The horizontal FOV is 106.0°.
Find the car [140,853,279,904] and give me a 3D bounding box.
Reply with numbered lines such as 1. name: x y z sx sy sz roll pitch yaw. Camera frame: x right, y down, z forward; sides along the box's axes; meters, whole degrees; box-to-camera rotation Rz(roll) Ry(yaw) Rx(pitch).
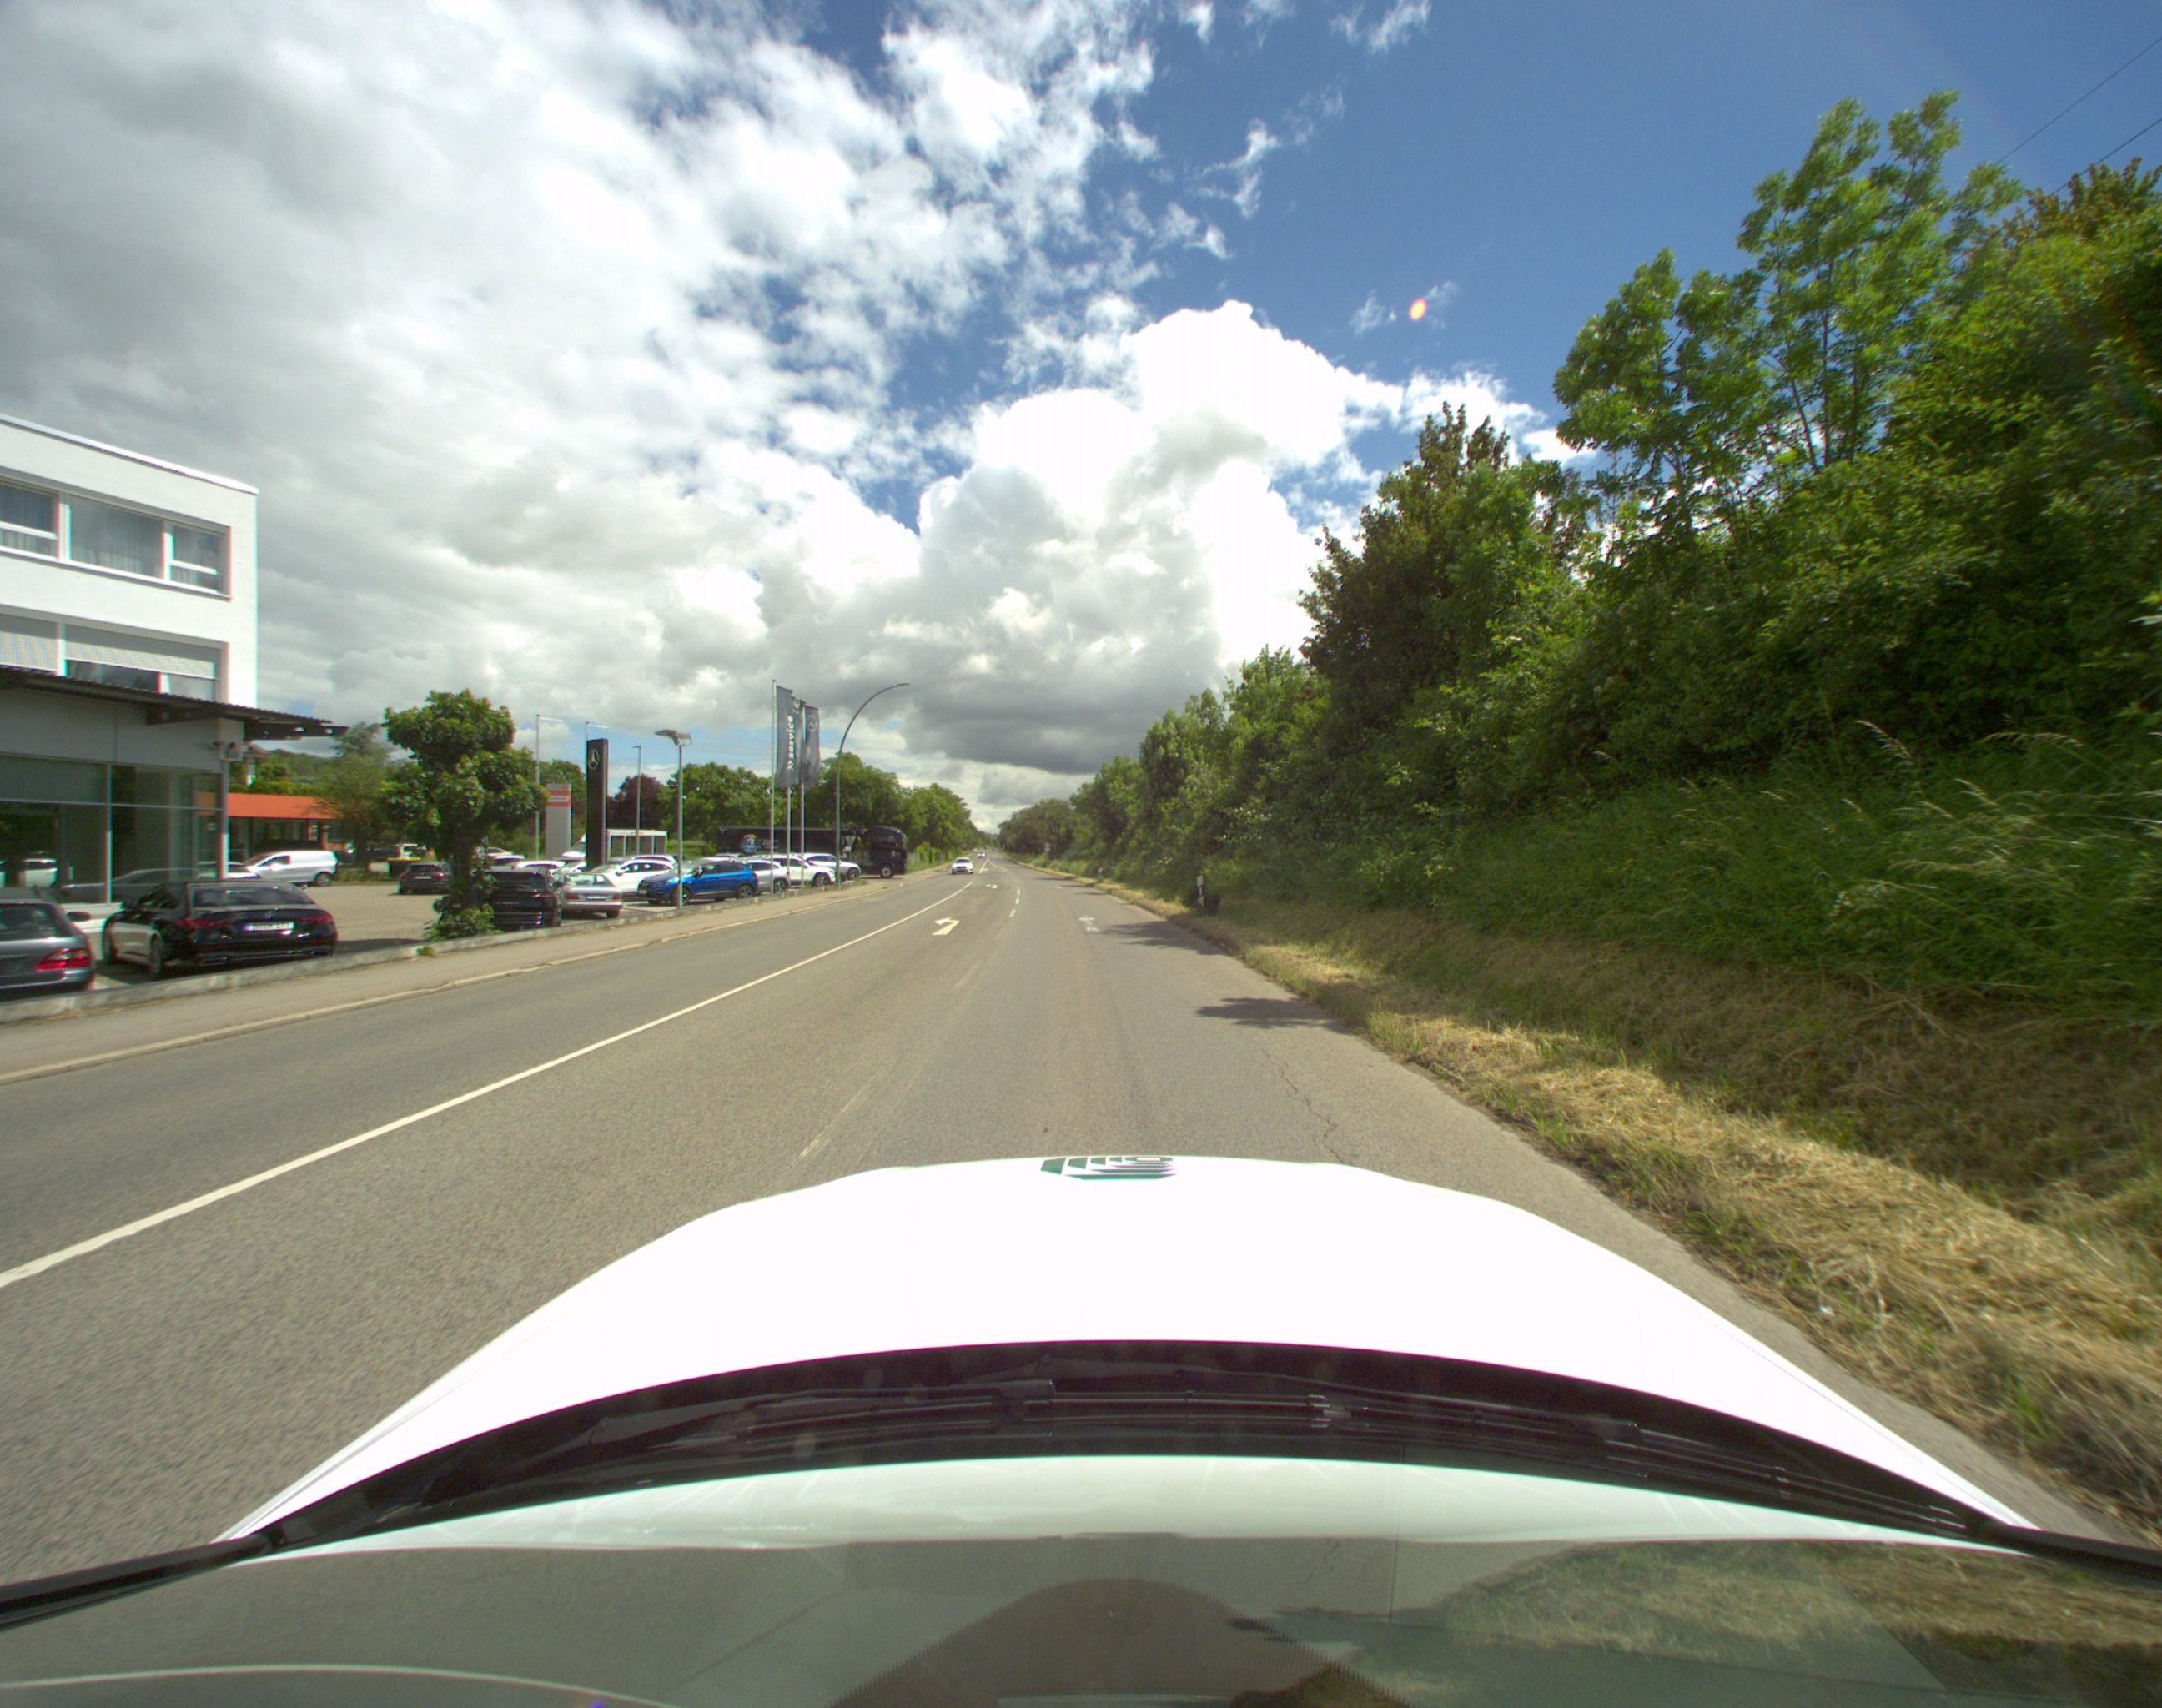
1. car: -29.386 0.807 27.450 4.527 1.590 1.939 0 -2 26

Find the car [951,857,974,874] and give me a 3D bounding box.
1. car: -10.569 1.012 72.707 1.992 1.450 4.414 -1 0 -8

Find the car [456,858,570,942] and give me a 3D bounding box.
1. car: -13.295 1.018 19.290 1.809 1.625 4.310 4 -1 -31

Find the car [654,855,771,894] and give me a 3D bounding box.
1. car: -16.561 0.851 36.856 1.850 1.566 4.549 2 1 31

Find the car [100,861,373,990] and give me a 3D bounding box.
1. car: -13.687 0.985 13.147 4.577 1.625 2.075 1 1 31

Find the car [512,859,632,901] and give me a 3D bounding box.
1. car: -21.736 1.055 34.907 1.781 1.625 3.980 1 1 33

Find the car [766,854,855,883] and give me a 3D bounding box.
1. car: -14.882 0.774 44.844 4.346 1.465 1.778 0 2 -34

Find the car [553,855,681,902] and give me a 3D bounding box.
1. car: -17.700 0.882 31.257 1.782 1.625 3.977 1 1 24

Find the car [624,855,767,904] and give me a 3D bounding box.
1. car: -14.521 0.904 30.962 1.870 1.668 4.599 2 0 31

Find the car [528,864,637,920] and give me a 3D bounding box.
1. car: -15.557 1.149 25.320 4.542 1.390 1.814 3 -1 45

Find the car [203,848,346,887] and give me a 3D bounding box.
1. car: -40.131 0.636 40.691 1.811 1.846 4.700 0 0 23

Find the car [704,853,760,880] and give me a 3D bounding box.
1. car: -21.765 0.753 50.916 1.795 1.601 4.756 -1 0 -5

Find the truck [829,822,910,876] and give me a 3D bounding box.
1. truck: -15.306 -0.353 59.357 5.557 3.824 2.973 0 -1 -12

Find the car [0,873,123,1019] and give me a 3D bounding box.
1. car: -13.044 1.011 9.702 3.903 1.494 1.815 0 0 36

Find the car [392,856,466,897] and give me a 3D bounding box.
1. car: -29.251 0.954 36.667 1.808 1.625 3.921 0 1 -27

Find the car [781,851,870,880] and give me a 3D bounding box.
1. car: -15.283 0.684 48.901 1.963 1.605 4.772 1 0 38

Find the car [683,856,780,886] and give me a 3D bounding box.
1. car: -18.951 0.879 44.364 1.844 1.467 4.588 2 1 34

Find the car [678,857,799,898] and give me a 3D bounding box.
1. car: -14.597 0.947 34.979 1.850 1.566 4.549 2 1 31

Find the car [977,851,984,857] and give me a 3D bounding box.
1. car: -24.039 0.068 195.147 1.658 1.432 3.685 -1 1 -6

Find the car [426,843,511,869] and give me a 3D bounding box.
1. car: -45.149 0.151 60.150 1.811 1.846 4.700 0 0 23

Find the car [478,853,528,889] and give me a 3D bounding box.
1. car: -28.343 0.793 39.877 1.856 1.629 3.955 0 0 -38

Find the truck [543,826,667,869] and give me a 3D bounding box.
1. truck: -35.749 -0.472 61.679 2.636 3.049 8.628 0 0 16

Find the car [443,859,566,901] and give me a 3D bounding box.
1. car: -24.857 1.086 35.249 1.781 1.625 3.980 1 1 33

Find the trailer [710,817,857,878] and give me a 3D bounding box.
1. trailer: -20.900 -0.408 57.580 9.474 4.083 3.295 0 -1 -22

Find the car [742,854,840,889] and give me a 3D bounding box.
1. car: -14.670 0.874 41.295 4.318 1.678 1.915 0 0 -37
